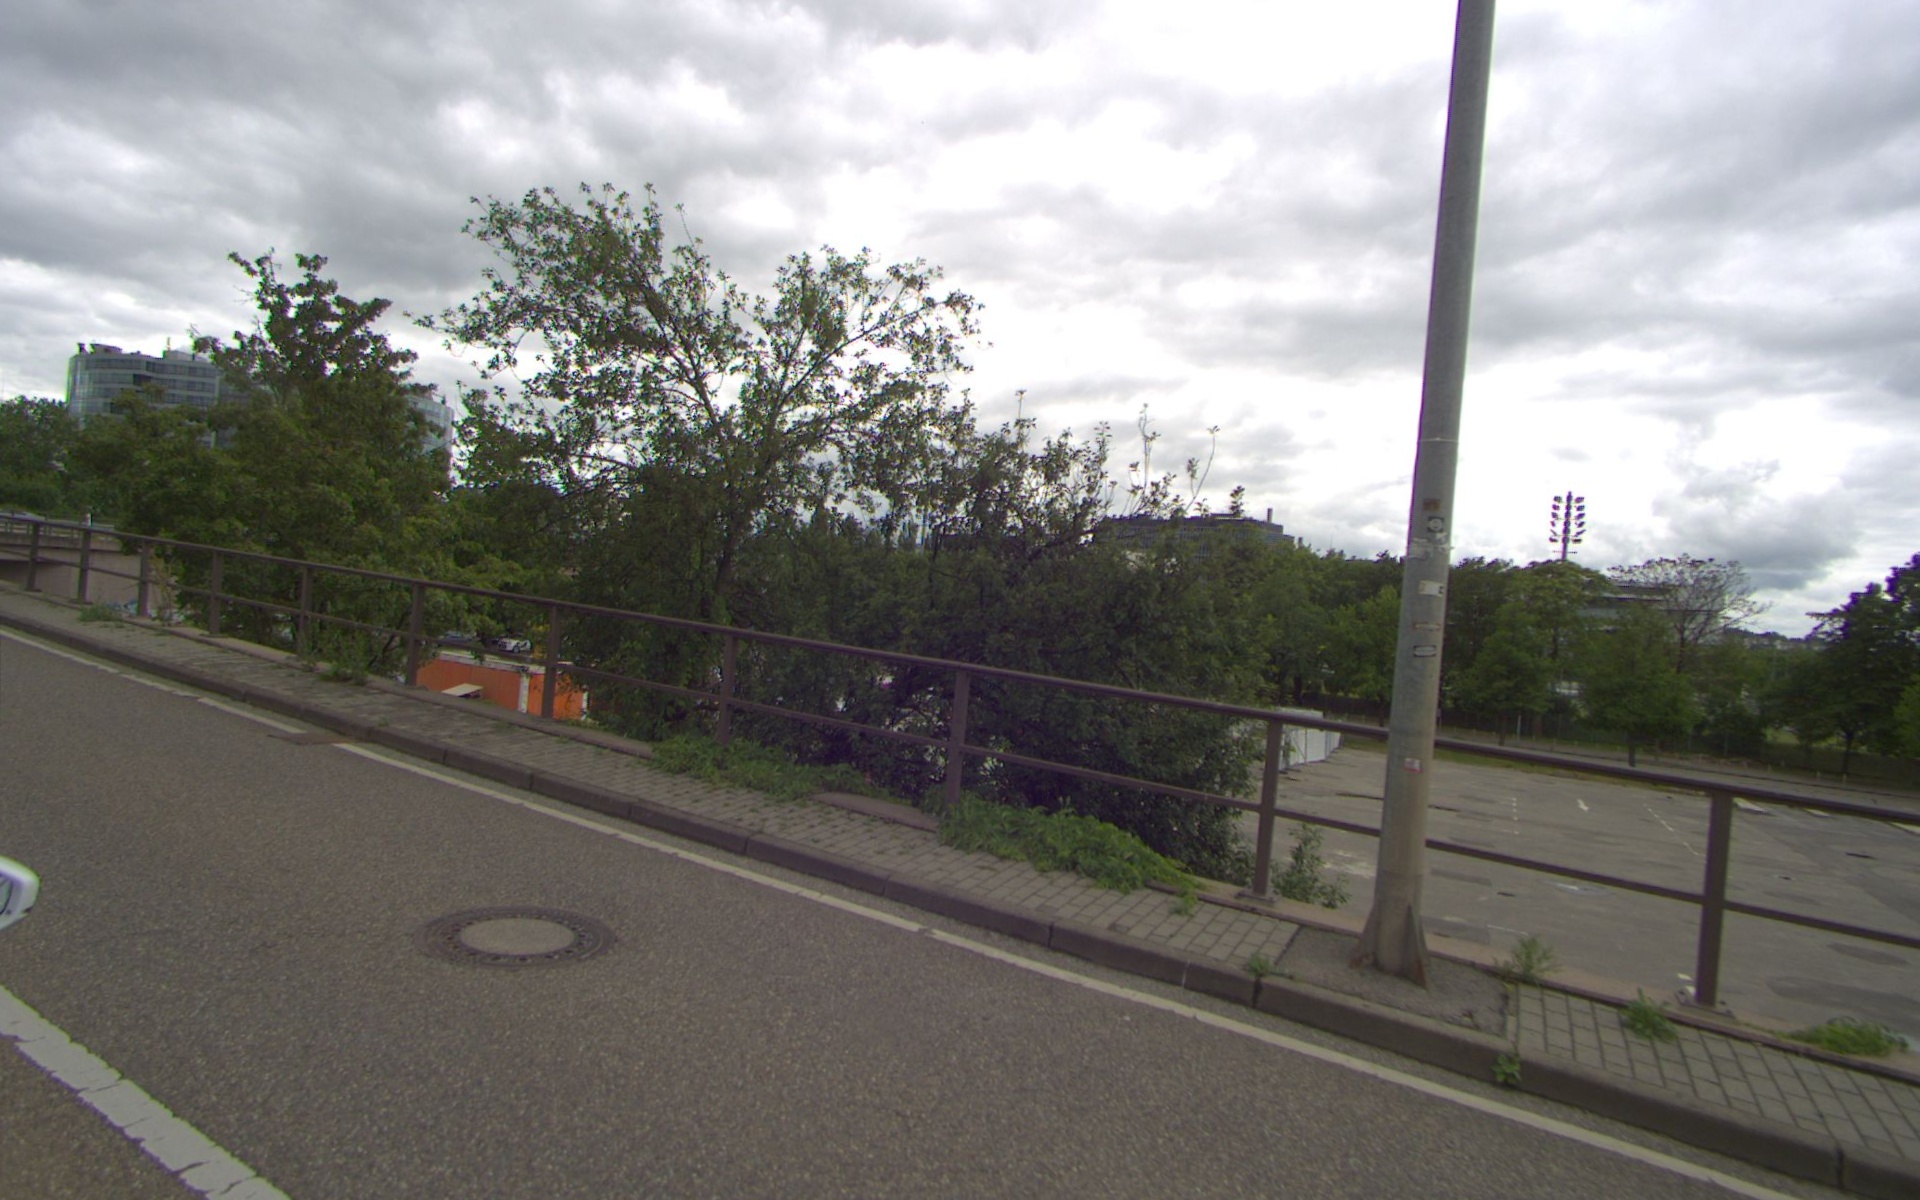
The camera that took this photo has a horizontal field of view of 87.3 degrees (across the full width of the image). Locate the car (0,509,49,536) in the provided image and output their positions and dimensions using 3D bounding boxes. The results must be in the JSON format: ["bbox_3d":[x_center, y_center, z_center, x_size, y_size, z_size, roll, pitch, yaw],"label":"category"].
[{"bbox_3d":[-67.245,-5.555,70.751,1.970,1.590,4.371,4,-2,36],"label":"car"}]
